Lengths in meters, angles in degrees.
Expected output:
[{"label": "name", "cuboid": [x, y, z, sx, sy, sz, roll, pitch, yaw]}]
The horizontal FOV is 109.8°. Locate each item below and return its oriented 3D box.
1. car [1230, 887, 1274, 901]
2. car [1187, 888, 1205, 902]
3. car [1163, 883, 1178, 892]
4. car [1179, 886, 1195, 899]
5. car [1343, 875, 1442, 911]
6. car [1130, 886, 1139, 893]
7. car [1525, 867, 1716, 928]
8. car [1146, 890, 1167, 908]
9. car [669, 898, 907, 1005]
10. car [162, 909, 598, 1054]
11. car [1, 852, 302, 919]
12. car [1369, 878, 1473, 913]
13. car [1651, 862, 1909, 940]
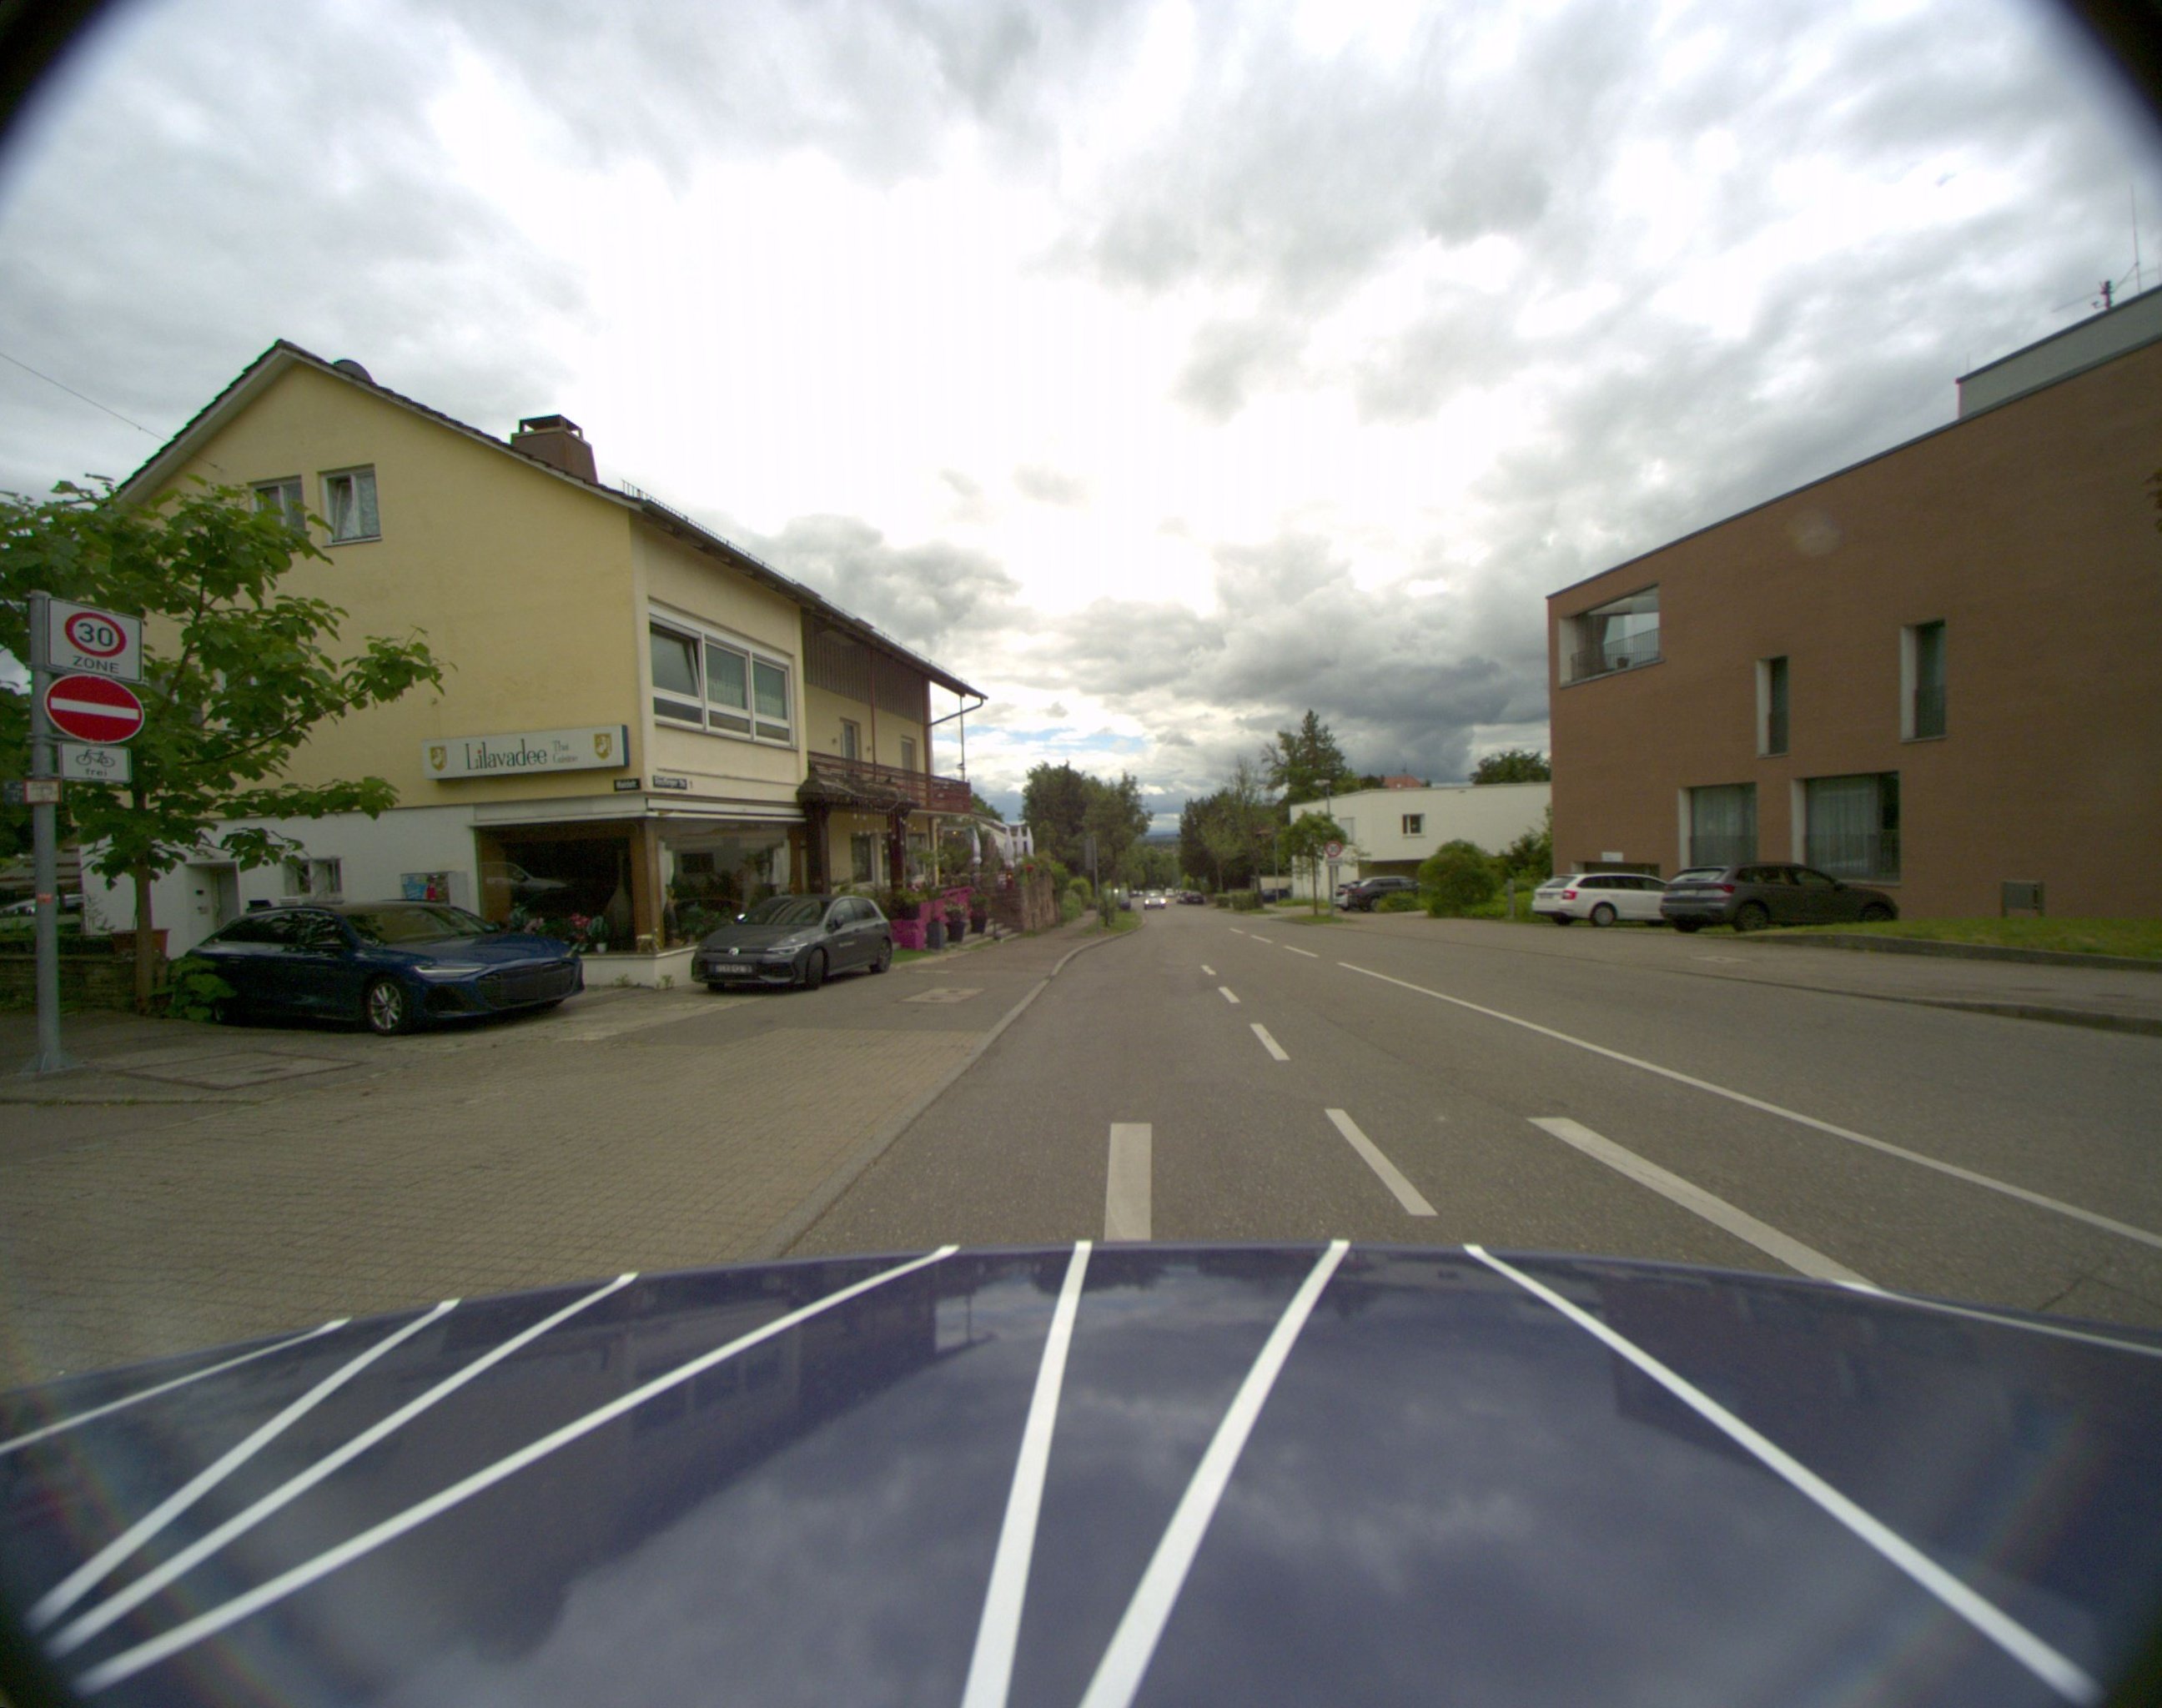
[{"label": "car", "cuboid": [16.552, 3.892, 73.729, 3.995, 1.278, 1.665, -2, -3, 7]}, {"label": "car", "cuboid": [12.186, 4.307, 80.578, 1.661, 1.412, 4.004, -2, -3, 6]}, {"label": "car", "cuboid": [16.215, 6.081, 137.973, 1.884, 1.412, 4.368, -1, -1, -2]}, {"label": "car", "cuboid": [12.503, 4.563, 89.576, 1.661, 1.412, 4.372, -2, -3, 6]}, {"label": "car", "cuboid": [15.057, 1.900, 36.877, 3.996, 1.585, 1.795, -2, -3, 3]}, {"label": "car", "cuboid": [13.070, 8.600, 184.229, 1.883, 1.412, 4.369, -1, -1, 1]}, {"label": "car", "cuboid": [14.615, 1.175, 20.715, 3.998, 1.476, 1.727, -1, -3, -3]}, {"label": "car", "cuboid": [6.492, 3.844, 65.231, 1.725, 1.476, 4.004, -2, -3, 6]}, {"label": "car", "cuboid": [-4.543, 1.482, 12.628, 1.796, 1.452, 4.332, -1, -4, 8]}, {"label": "car", "cuboid": [-8.529, 1.421, 9.290, 4.739, 1.378, 1.802, -2, -1, 18]}, {"label": "car", "cuboid": [-22.665, 0.826, 18.806, 1.795, 1.452, 4.336, -2, -4, 22]}, {"label": "car", "cuboid": [15.603, 1.902, 35.036, 3.996, 1.476, 1.728, -2, -3, 3]}, {"label": "car", "cuboid": [14.914, 0.997, 16.353, 3.998, 1.476, 1.727, -1, -3, -3]}]
